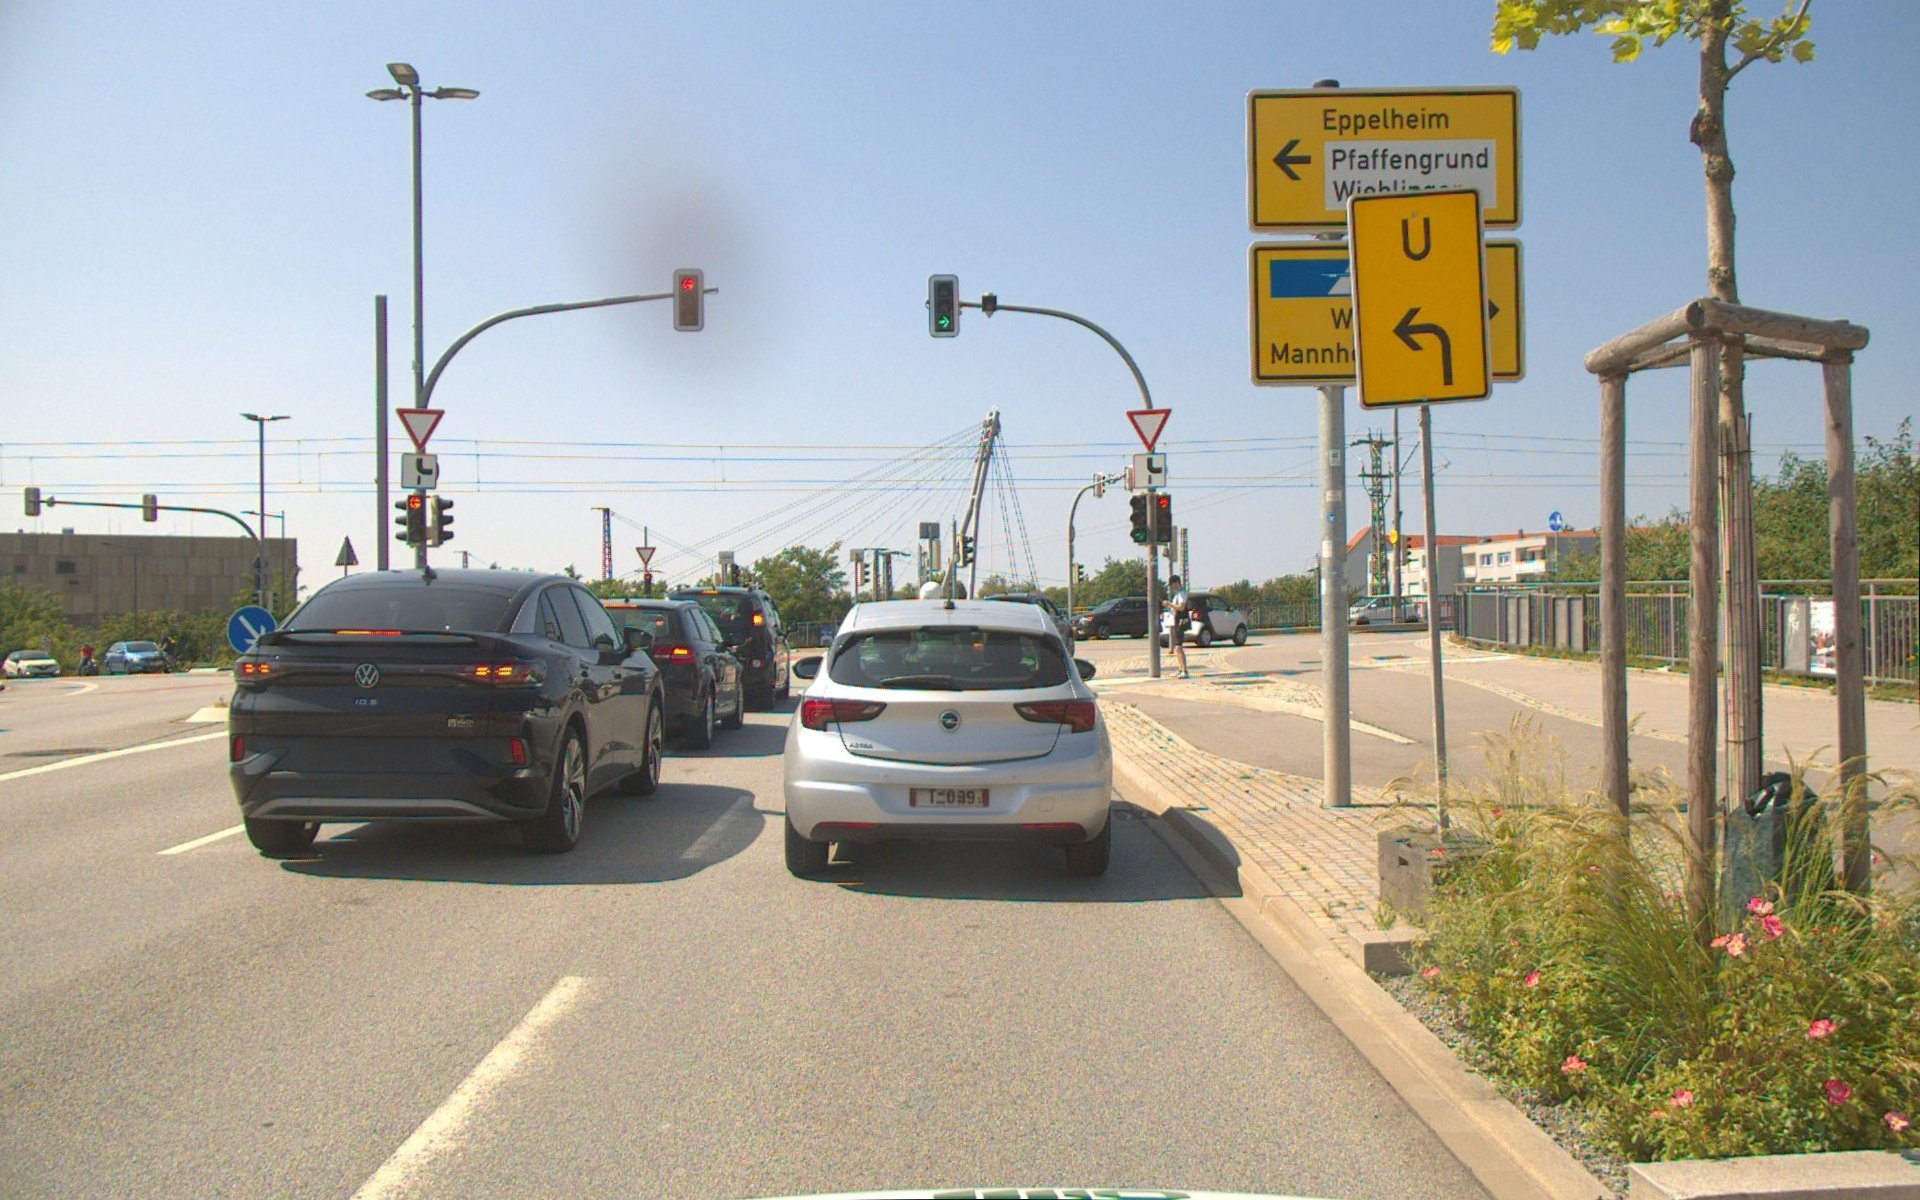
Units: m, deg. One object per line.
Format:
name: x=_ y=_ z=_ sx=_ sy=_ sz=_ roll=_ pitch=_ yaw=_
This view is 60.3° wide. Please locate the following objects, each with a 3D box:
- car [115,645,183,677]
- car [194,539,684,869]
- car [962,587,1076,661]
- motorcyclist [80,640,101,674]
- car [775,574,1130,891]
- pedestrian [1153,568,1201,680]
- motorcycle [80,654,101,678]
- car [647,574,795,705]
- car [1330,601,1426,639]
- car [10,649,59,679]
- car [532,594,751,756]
car: x=-35.007 y=2.624 z=71.364 sx=1.805 sy=1.354 sz=3.943 roll=1 pitch=-2 yaw=-39
car: x=-3.036 y=0.548 z=10.678 sx=1.765 sy=1.670 sz=4.365 roll=1 pitch=0 yaw=0
car: x=1.428 y=0.518 z=38.362 sx=1.687 sy=1.591 sz=4.003 roll=1 pitch=1 yaw=16
motorcyclist: x=-38.914 y=2.553 z=74.021 sx=0.745 sy=1.520 sz=0.668 roll=1 pitch=-1 yaw=-37
car: x=-0.120 y=0.655 z=10.096 sx=1.708 sy=1.503 sz=3.998 roll=-1 pitch=0 yaw=-3
pedestrian: x=3.724 y=0.408 z=28.446 sx=0.634 sy=1.868 sz=0.797 roll=-2 pitch=-1 yaw=-2
motorcycle: x=-38.879 y=2.947 z=73.954 sx=0.515 sy=0.972 sz=1.909 roll=1 pitch=-1 yaw=-37
car: x=-3.227 y=0.512 z=22.963 sx=1.616 sy=1.644 sz=3.818 roll=1 pitch=0 yaw=-2
car: x=17.566 y=0.840 z=69.481 sx=3.565 sy=1.512 sz=1.683 roll=1 pitch=-1 yaw=-16
car: x=-45.564 y=3.157 z=81.385 sx=1.594 sy=1.362 sz=2.883 roll=1 pitch=-1 yaw=-40
car: x=-3.145 y=0.696 z=16.999 sx=1.543 sy=1.459 sz=3.785 roll=1 pitch=0 yaw=-1
